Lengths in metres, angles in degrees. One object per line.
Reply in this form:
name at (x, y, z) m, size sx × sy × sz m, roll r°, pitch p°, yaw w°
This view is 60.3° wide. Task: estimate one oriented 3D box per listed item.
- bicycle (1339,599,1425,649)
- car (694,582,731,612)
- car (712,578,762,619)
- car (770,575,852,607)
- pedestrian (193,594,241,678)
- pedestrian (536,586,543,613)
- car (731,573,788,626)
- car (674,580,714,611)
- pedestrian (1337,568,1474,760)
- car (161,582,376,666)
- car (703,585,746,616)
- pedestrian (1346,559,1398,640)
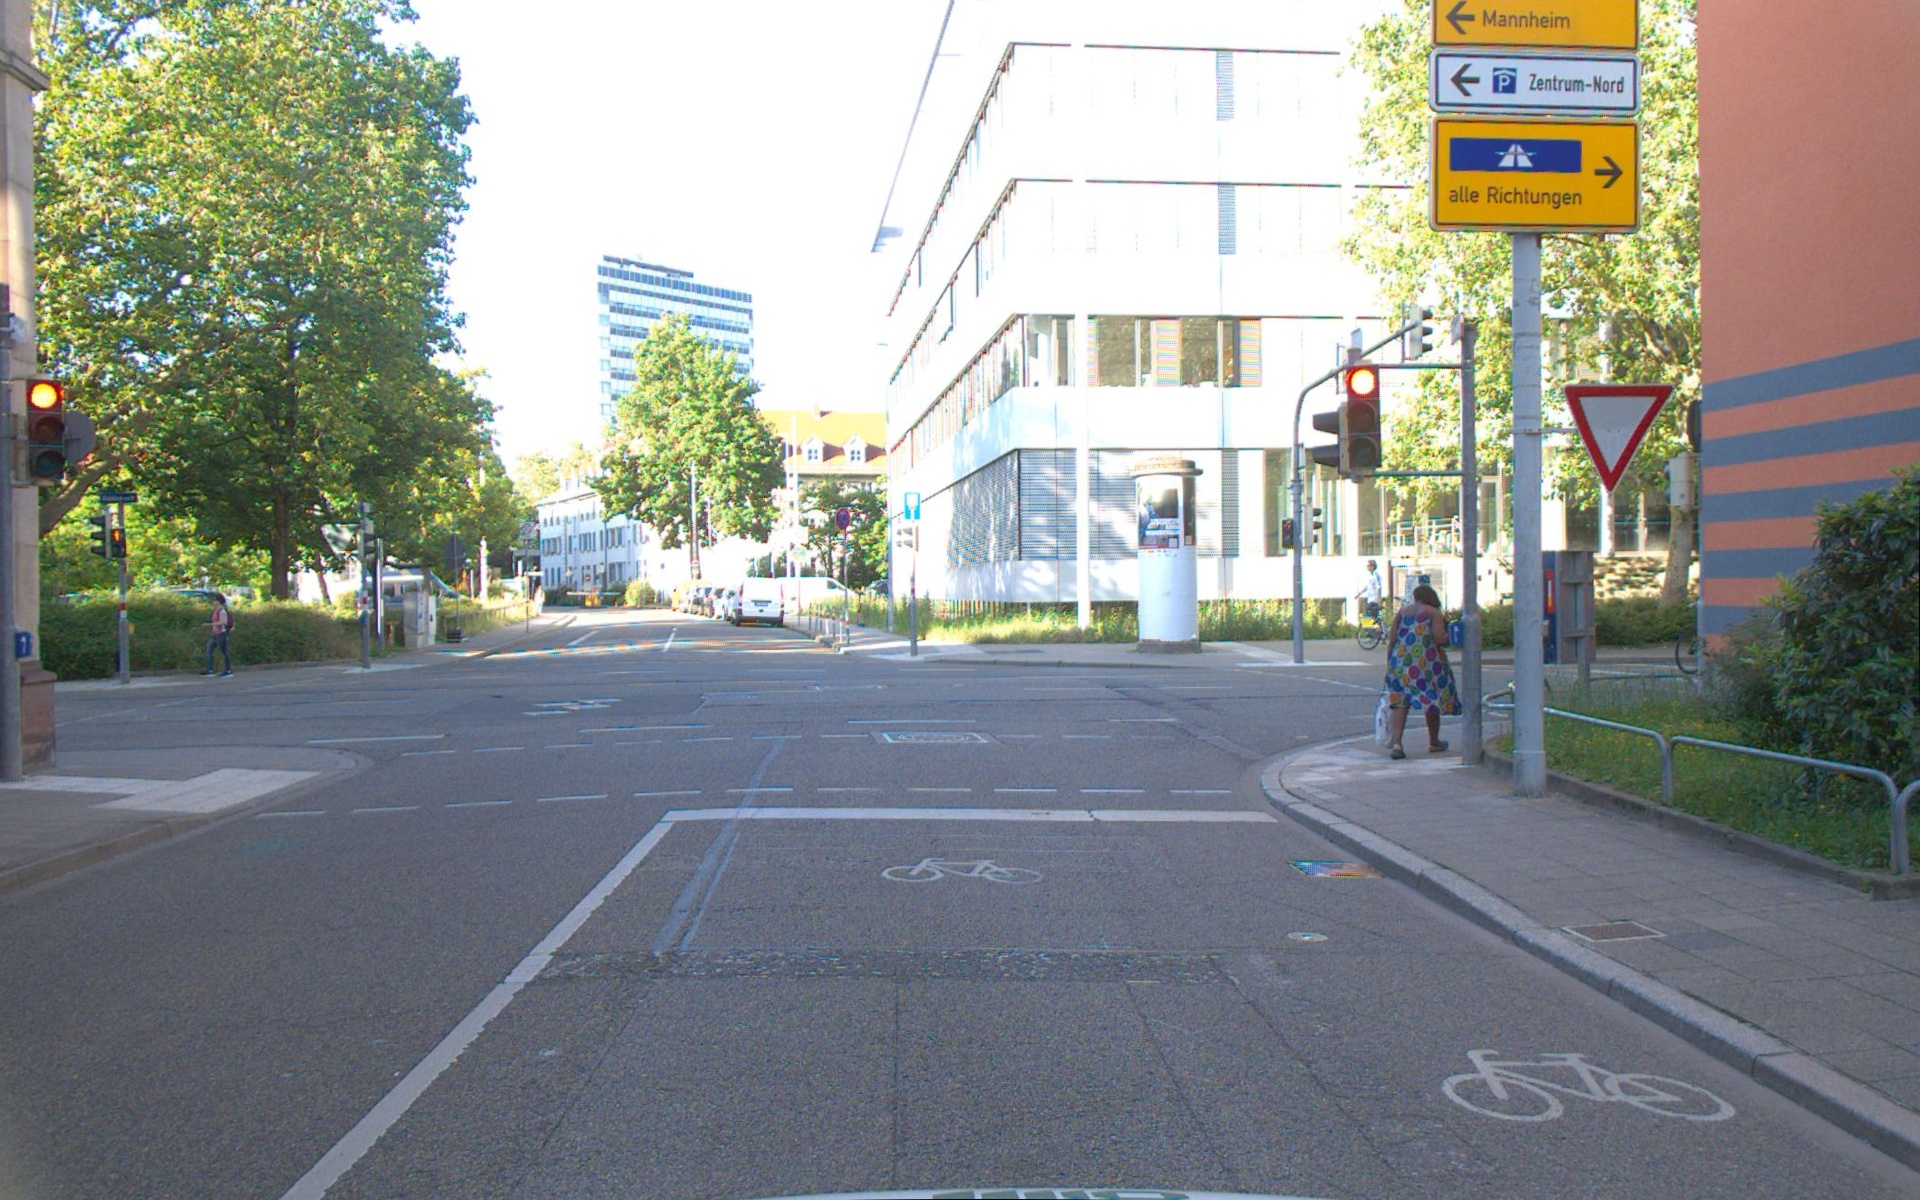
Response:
bicycle at (9.227, 0.510, 36.240) m, size 0.460 × 1.067 × 1.886 m, roll -1°, pitch 0°, yaw -42°
car at (-12.849, -0.163, 85.633) m, size 1.674 × 1.490 × 4.226 m, roll -1°, pitch 1°, yaw -11°
car at (-10.320, -0.078, 76.257) m, size 1.913 × 1.826 × 4.224 m, roll -1°, pitch 1°, yaw -13°
car at (-9.237, -0.552, 102.646) m, size 4.804 × 1.905 × 1.990 m, roll 0°, pitch -1°, yaw -17°
pedestrian at (-14.811, 0.705, 32.974) m, size 0.708 × 1.627 × 0.608 m, roll -1°, pitch 0°, yaw -41°
pedestrian at (-24.601, -0.052, 96.775) m, size 0.373 × 1.561 × 0.444 m, roll -1°, pitch 0°, yaw -13°
car at (-7.860, -0.037, 64.513) m, size 2.029 × 1.997 × 4.229 m, roll -1°, pitch 1°, yaw -9°
car at (-15.377, -0.261, 95.417) m, size 2.063 × 1.687 × 4.463 m, roll -1°, pitch 1°, yaw -11°
pedestrian at (3.933, 0.556, 14.595) m, size 0.936 × 1.600 × 0.750 m, roll -4°, pitch 0°, yaw 28°
car at (-15.761, 0.523, 37.895) m, size 4.146 × 1.808 × 1.901 m, roll -1°, pitch 0°, yaw -9°
car at (-11.561, 0.011, 81.142) m, size 1.675 × 1.449 × 4.223 m, roll -1°, pitch 1°, yaw -14°
pedestrian at (9.597, -0.025, 38.539) m, size 0.534 × 1.863 × 1.024 m, roll -1°, pitch 0°, yaw -42°
